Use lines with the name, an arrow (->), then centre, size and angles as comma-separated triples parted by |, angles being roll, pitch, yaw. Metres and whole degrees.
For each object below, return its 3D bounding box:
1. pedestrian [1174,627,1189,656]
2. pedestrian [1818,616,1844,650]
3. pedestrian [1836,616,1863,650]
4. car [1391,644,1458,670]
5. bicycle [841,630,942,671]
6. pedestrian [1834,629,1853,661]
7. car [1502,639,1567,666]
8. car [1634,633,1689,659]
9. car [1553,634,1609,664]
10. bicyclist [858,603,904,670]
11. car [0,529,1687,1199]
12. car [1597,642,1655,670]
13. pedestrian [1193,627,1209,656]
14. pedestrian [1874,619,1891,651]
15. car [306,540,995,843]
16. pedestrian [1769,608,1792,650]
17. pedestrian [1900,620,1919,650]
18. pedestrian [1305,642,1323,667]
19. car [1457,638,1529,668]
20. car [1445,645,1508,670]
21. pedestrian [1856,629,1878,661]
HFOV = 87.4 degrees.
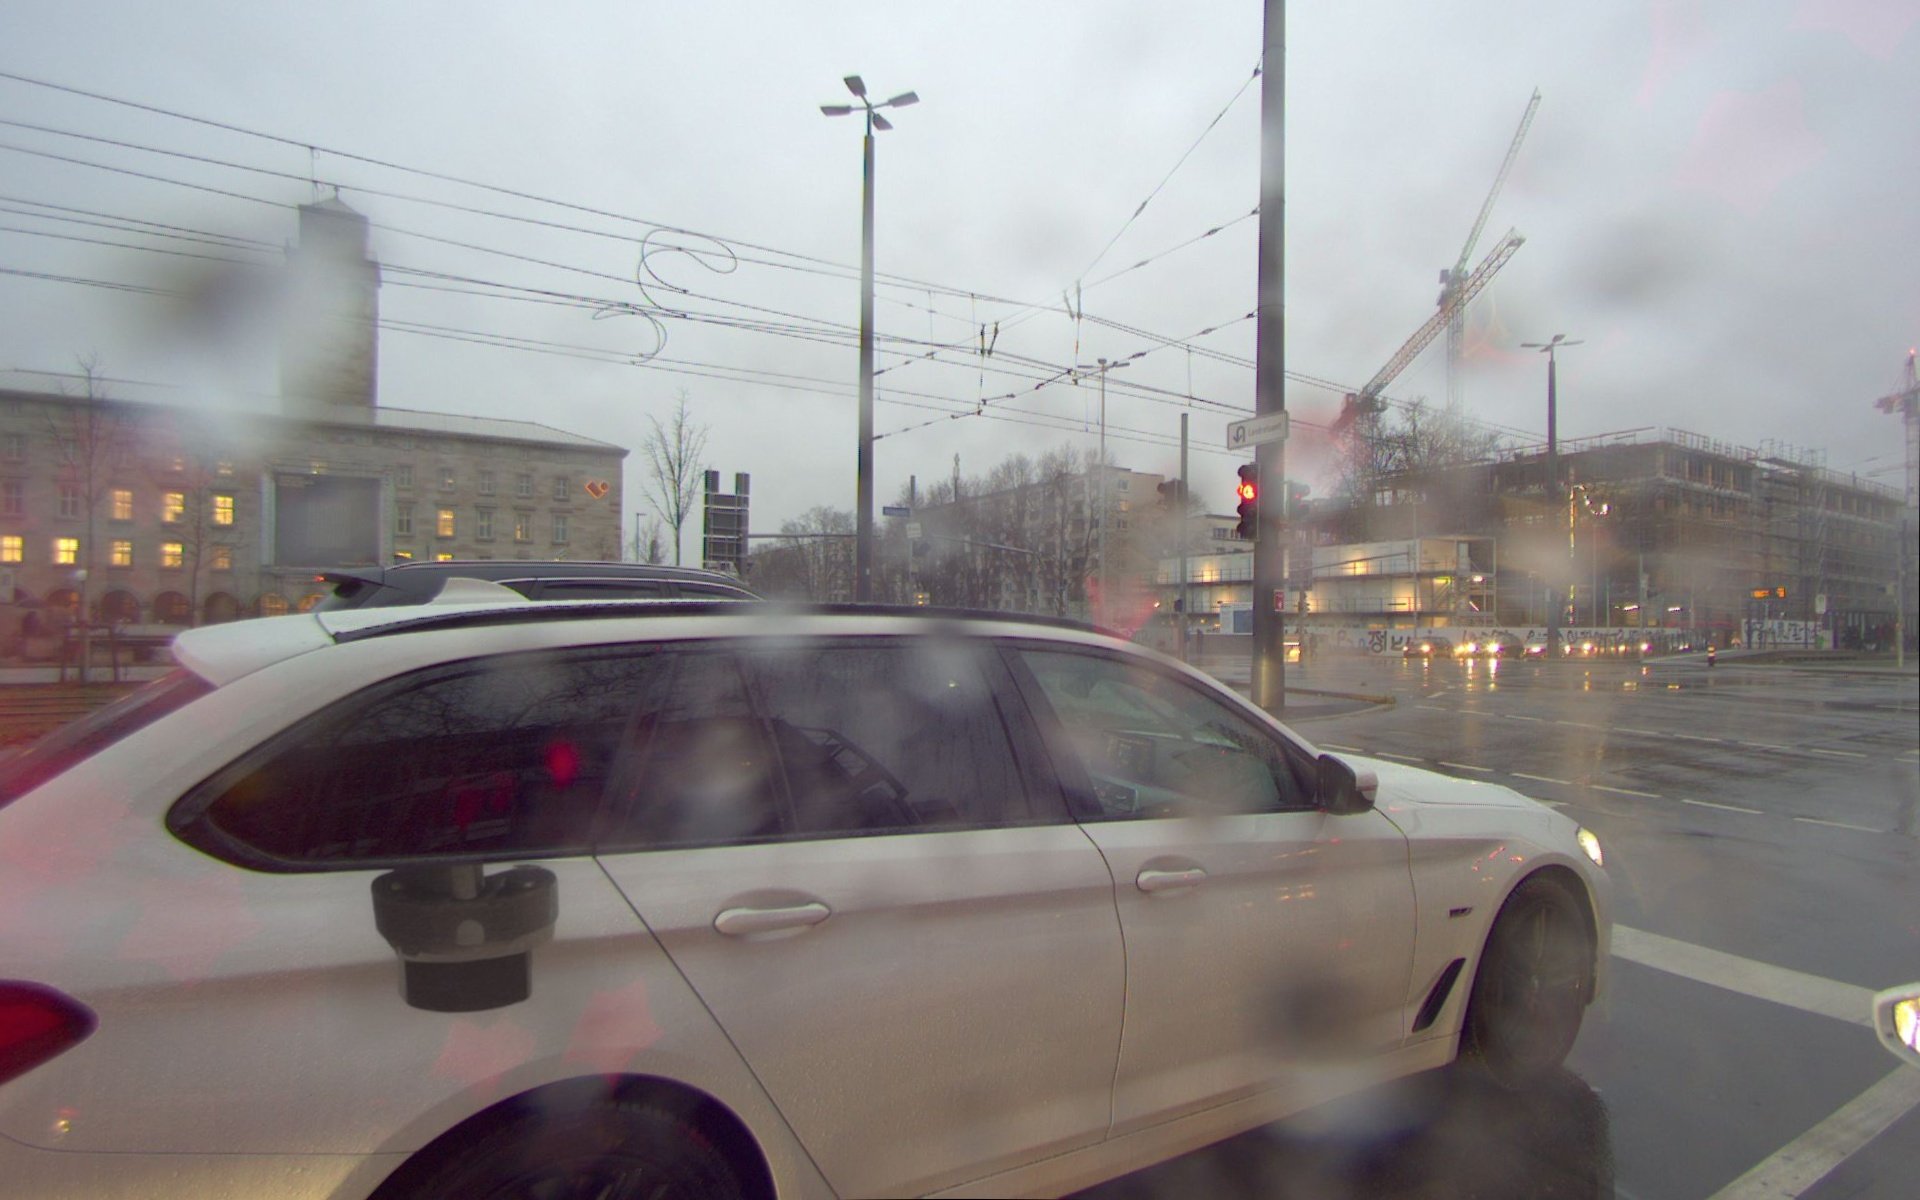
pedestrian -> 15.774, 2.973, 71.507 | 0.620, 2.040, 0.856 | 2, 0, -37
pedestrian -> 53.319, 1.996, 61.500 | 1.083, 2.040, 0.936 | 2, 0, -34
pedestrian -> 55.568, 2.070, 62.761 | 1.082, 2.040, 0.937 | 2, 0, -32
car -> 29.515, 3.590, 63.790 | 3.953, 1.550, 1.984 | 2, -2, -30
bicycle -> -1.987, 1.470, 29.354 | 2.823, 1.114, 0.742 | 2, 0, -21
pedestrian -> 54.377, 2.774, 61.814 | 0.547, 1.906, 0.695 | 2, 0, -30
car -> 35.879, 3.252, 62.720 | 4.577, 1.550, 2.059 | 2, -2, -40
car -> 51.595, 3.386, 73.850 | 3.958, 1.814, 1.981 | 2, 0, -34
car -> 41.075, 3.208, 66.412 | 3.963, 1.852, 1.852 | 2, 0, -37
bicyclist -> -2.307, 1.068, 29.217 | 1.142, 1.896, 0.742 | 2, 0, -20
car -> 0.018, 0.733, 3.083 | 4.508, 1.506, 2.007 | 2, -2, -31
car -> 46.978, 3.908, 70.844 | 3.958, 1.814, 1.981 | 2, 0, -34
pedestrian -> 16.999, 2.912, 70.939 | 0.737, 2.040, 0.783 | 2, 0, -25
pedestrian -> 57.927, 2.199, 63.070 | 0.659, 1.994, 0.566 | 2, 1, -36
car -> -2.069, 0.558, 7.236 | 4.238, 1.605, 1.958 | 2, -1, -29
pedestrian -> 47.242, 1.649, 57.835 | 0.754, 2.354, 0.761 | 3, -1, -30
pedestrian -> 66.153, 2.426, 69.858 | 1.084, 2.040, 0.935 | 2, 0, -37
pedestrian -> 21.168, 3.256, 60.122 | 0.713, 1.407, 0.727 | 2, 0, -18
car -> 31.373, 3.083, 59.124 | 3.953, 1.679, 1.984 | 2, -2, -30
car -> 34.810, 3.863, 67.644 | 3.953, 1.550, 1.984 | 2, -2, -30
pedestrian -> 55.427, 2.746, 61.397 | 0.754, 1.922, 0.761 | 3, -1, -30
